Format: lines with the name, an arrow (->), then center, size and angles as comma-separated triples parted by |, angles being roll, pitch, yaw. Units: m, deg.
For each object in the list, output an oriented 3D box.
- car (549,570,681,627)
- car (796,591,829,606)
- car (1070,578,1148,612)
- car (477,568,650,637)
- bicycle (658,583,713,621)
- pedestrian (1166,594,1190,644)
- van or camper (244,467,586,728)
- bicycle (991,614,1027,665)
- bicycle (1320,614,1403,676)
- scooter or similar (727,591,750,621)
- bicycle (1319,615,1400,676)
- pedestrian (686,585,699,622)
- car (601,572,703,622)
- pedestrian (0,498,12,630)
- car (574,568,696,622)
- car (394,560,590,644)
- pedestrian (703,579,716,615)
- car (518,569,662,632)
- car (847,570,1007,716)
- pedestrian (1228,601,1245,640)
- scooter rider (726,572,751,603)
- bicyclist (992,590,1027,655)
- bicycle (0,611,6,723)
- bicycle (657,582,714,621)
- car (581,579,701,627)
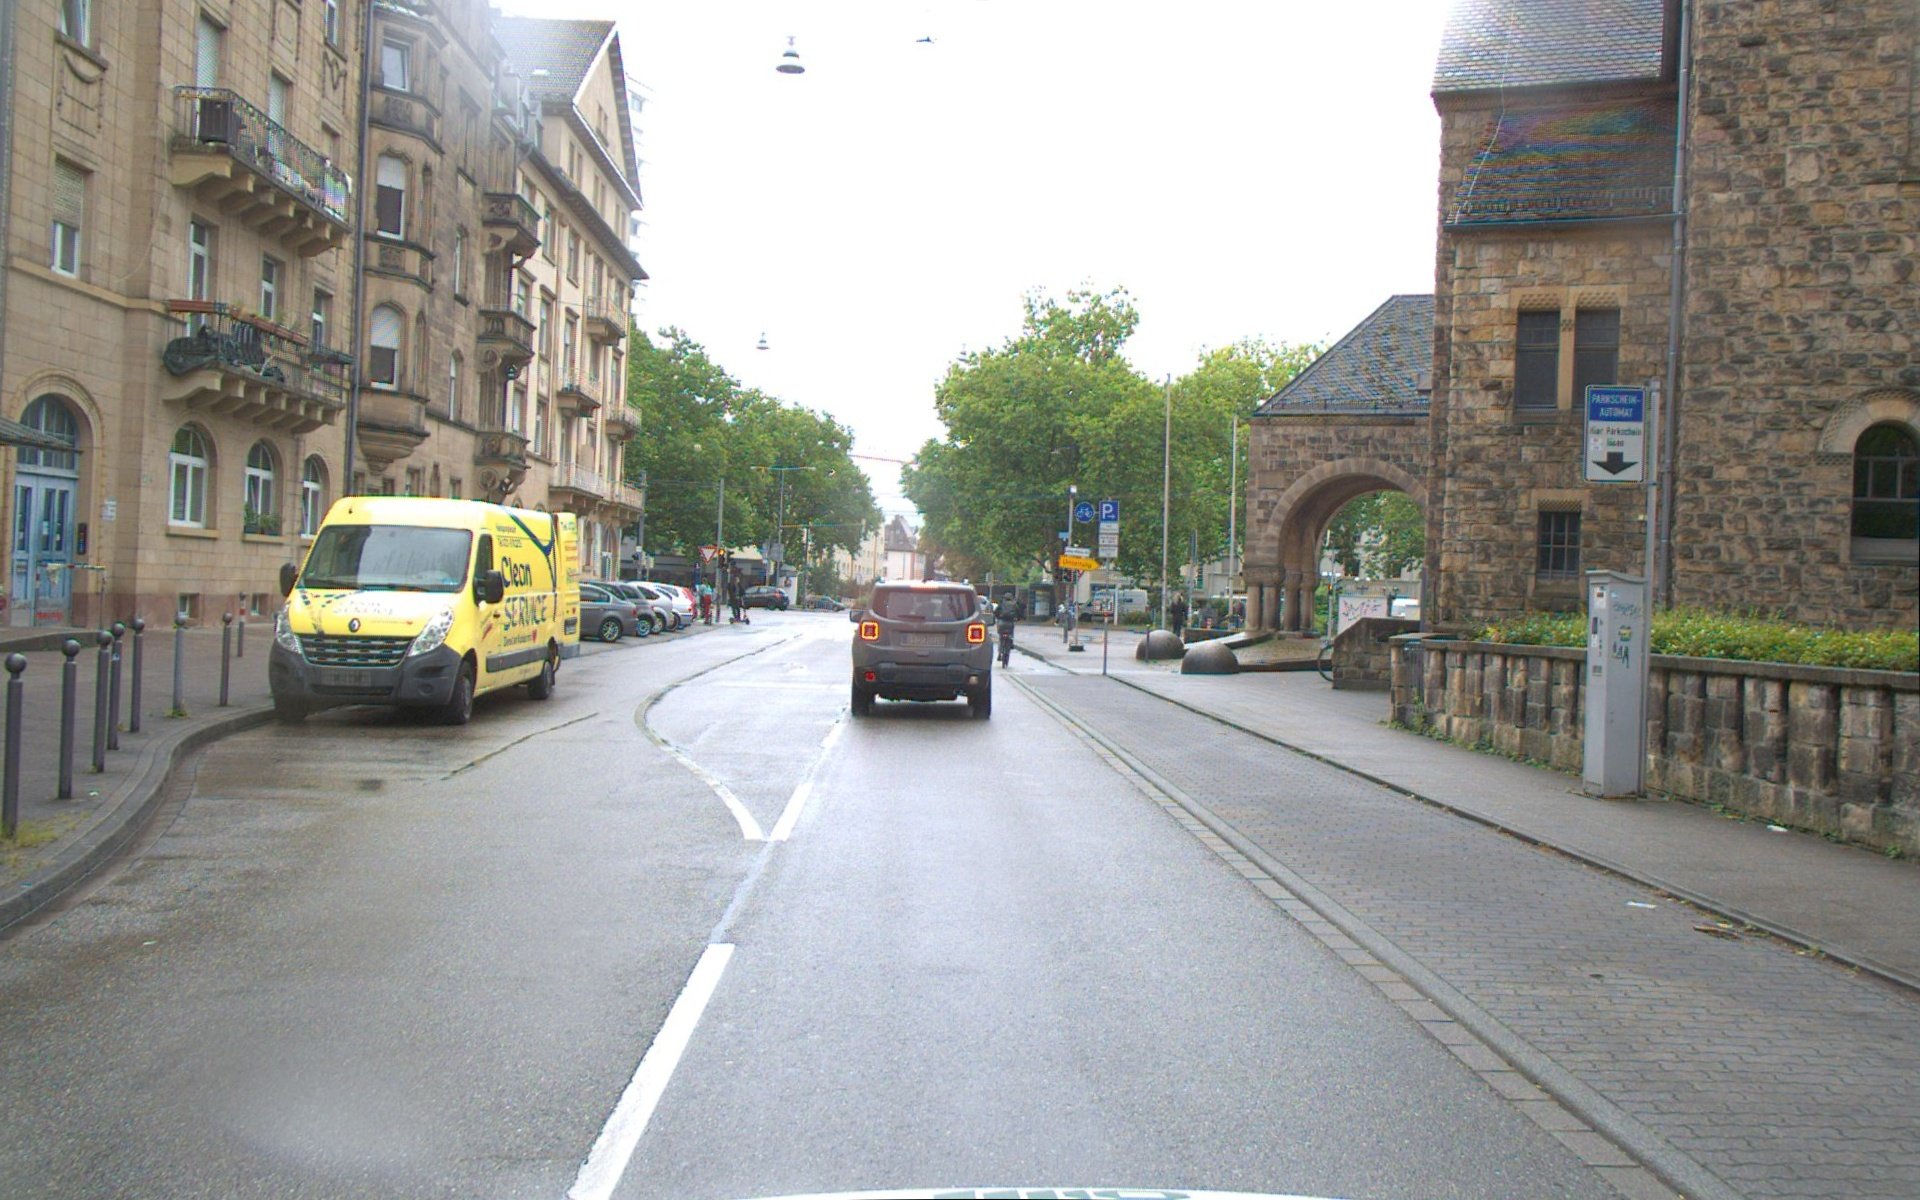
car -> -10.637, -0.040, 51.032 | 3.468, 1.544, 1.862 | 4, -1, -36
car -> -16.465, -0.188, 184.322 | 3.396, 1.527, 1.543 | 1, 0, 9
car -> 11.372, -0.386, 126.632 | 5.782, 2.375, 2.060 | 1, 0, 1
car -> -10.074, 0.080, 42.181 | 3.822, 1.505, 1.856 | 4, -1, -43
bicycle -> -10.711, 0.083, 64.559 | 2.063, 1.469, 0.487 | 1, 0, -23
pedestrian -> 7.640, 0.660, 58.011 | 0.677, 1.741, 0.684 | 1, 0, -2
van or camper -> -6.268, 0.062, 20.086 | 2.079, 2.575, 6.871 | -2, -2, -2
bicycle -> 1.097, 0.885, 37.404 | 0.690, 1.072, 1.812 | 1, 0, -2
bicycle -> 7.598, 0.846, 31.306 | 1.491, 1.121, 0.363 | 1, 0, 19
scooter or similar -> -9.242, 0.263, 69.009 | 0.834, 1.233, 0.986 | 1, -1, -2
bicycle -> 7.665, 0.860, 31.718 | 1.456, 1.121, 0.363 | 1, 0, 19
pedestrian -> -11.942, 0.157, 73.884 | 0.458, 1.613, 0.659 | 2, 0, -3
car -> -11.174, -0.114, 60.053 | 3.219, 1.586, 1.516 | 4, -1, -36
pedestrian -> -13.439, -0.500, 22.705 | 0.652, 1.788, 0.790 | 1, 0, -26
car -> -11.139, -0.163, 56.750 | 3.699, 1.586, 1.651 | 4, -1, -36
car -> -10.077, 0.055, 35.698 | 3.627, 1.586, 1.775 | 4, -1, -38
pedestrian -> -11.227, -0.144, 74.263 | 0.458, 1.613, 0.752 | 2, 0, -3
car -> -10.683, 0.018, 47.831 | 3.628, 1.586, 1.784 | 4, -1, -39
car -> -0.506, 0.507, 22.036 | 1.861, 1.700, 4.503 | 2, 0, -3
pedestrian -> 12.378, 0.919, 74.068 | 0.667, 1.741, 0.693 | 1, 0, 16
scooter rider -> -9.237, -0.509, 69.034 | 0.862, 1.241, 0.983 | 2, -2, -2
bicyclist -> 1.108, 0.494, 37.411 | 0.690, 1.428, 1.171 | 1, 0, -2
bicycle -> -6.589, 0.563, 9.259 | 2.074, 1.116, 0.594 | 4, 0, -2
bicycle -> -10.539, 0.060, 63.573 | 2.080, 1.469, 0.535 | 1, 0, -22
car -> -10.434, 0.090, 54.154 | 3.385, 1.339, 1.757 | 4, -1, -36
